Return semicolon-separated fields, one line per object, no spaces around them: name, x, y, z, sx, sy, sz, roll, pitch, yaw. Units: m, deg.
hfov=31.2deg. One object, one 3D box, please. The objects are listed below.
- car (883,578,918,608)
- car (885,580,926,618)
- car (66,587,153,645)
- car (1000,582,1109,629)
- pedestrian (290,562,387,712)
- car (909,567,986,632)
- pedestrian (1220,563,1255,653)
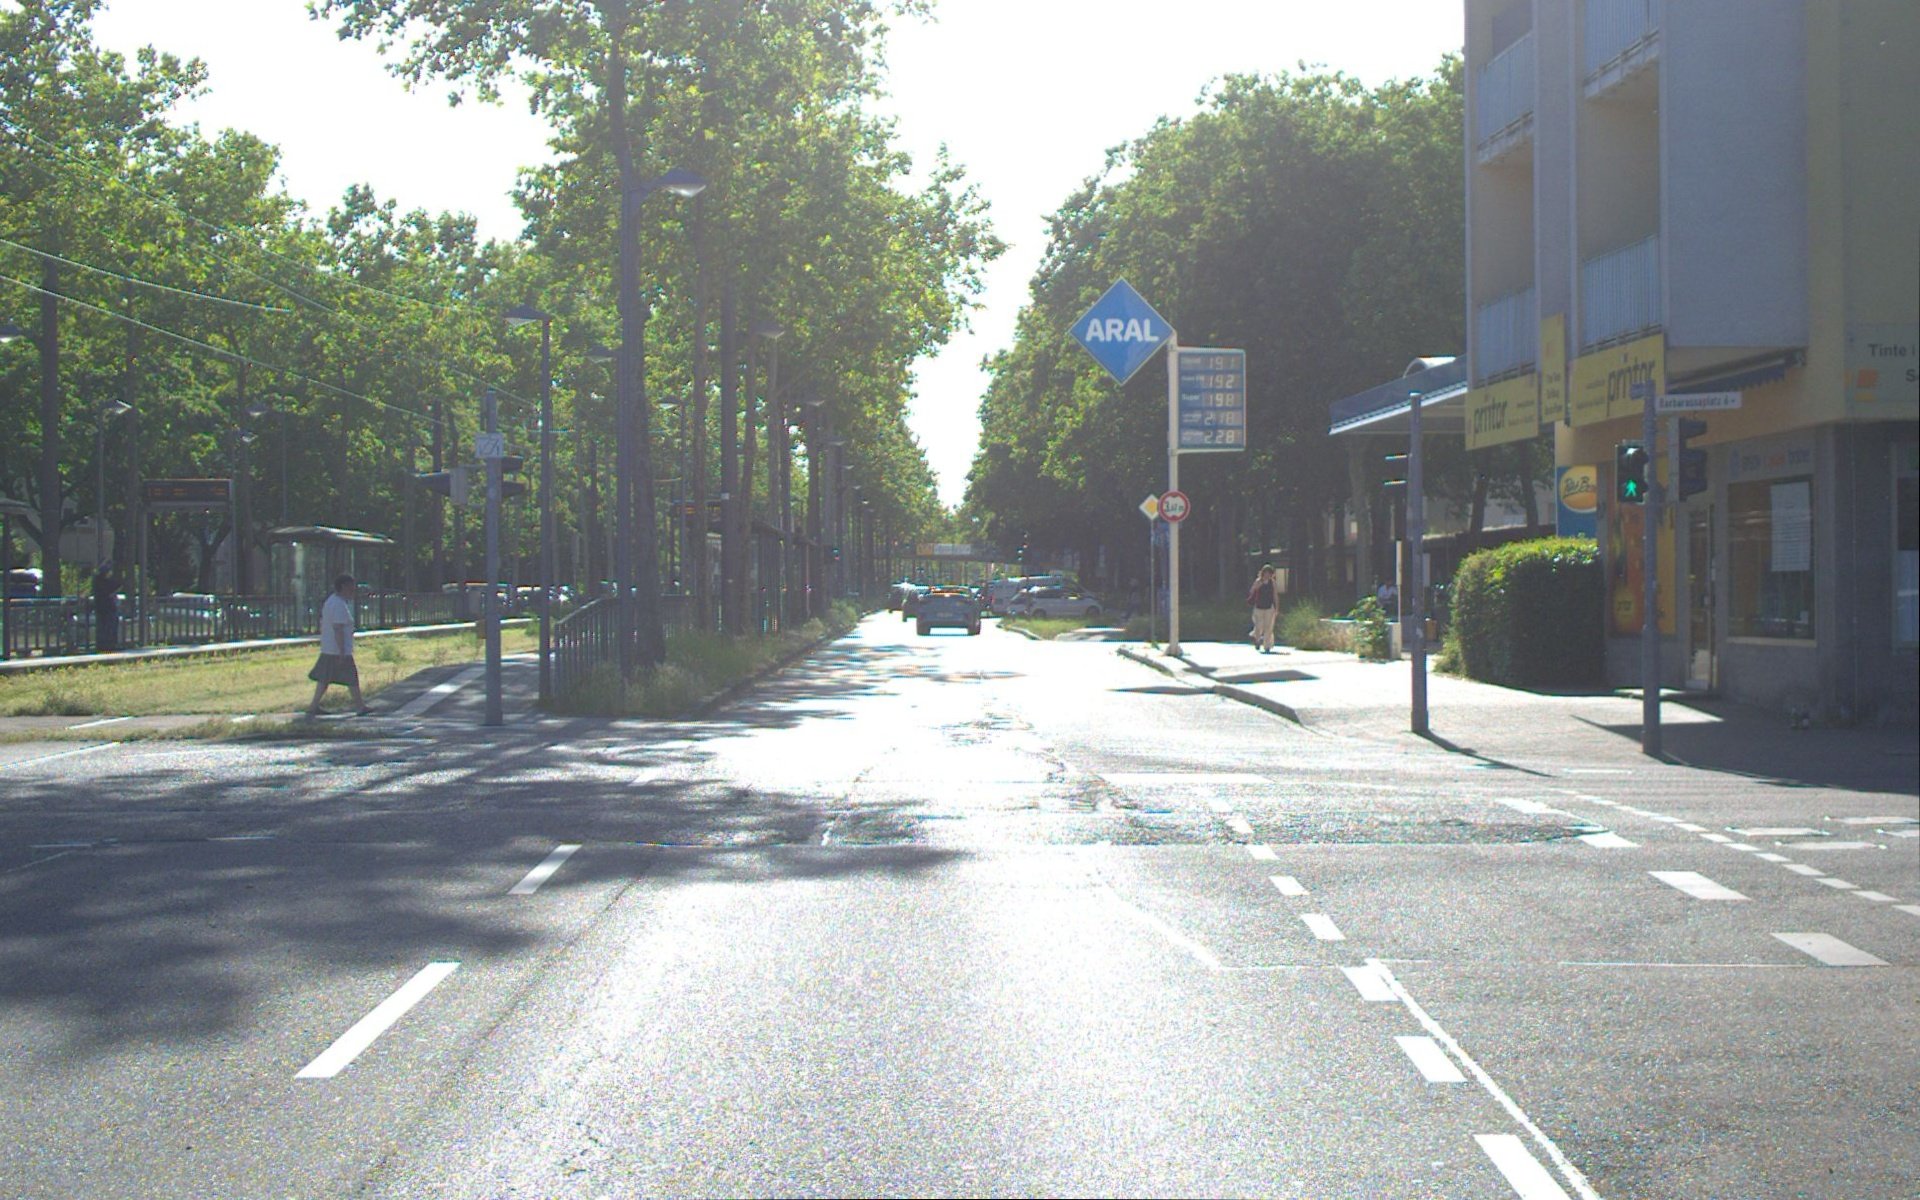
car;-3.408;-0.384;194.895;1.894;1.605;4.500;2;0;-1
car;-2.370;-0.059;150.056;1.635;1.544;4.000;2;0;1
car;-24.414;0.443;98.760;1.622;1.558;3.413;2;0;-1
car;3.836;0.240;139.537;3.986;1.744;1.755;2;0;-29
pedestrian;-6.811;0.403;37.680;0.891;1.601;0.613;2;0;0
car;-0.344;-0.016;104.207;2.005;1.853;3.999;2;0;4
pedestrian;5.461;0.151;67.656;0.574;1.741;0.506;2;0;-1
